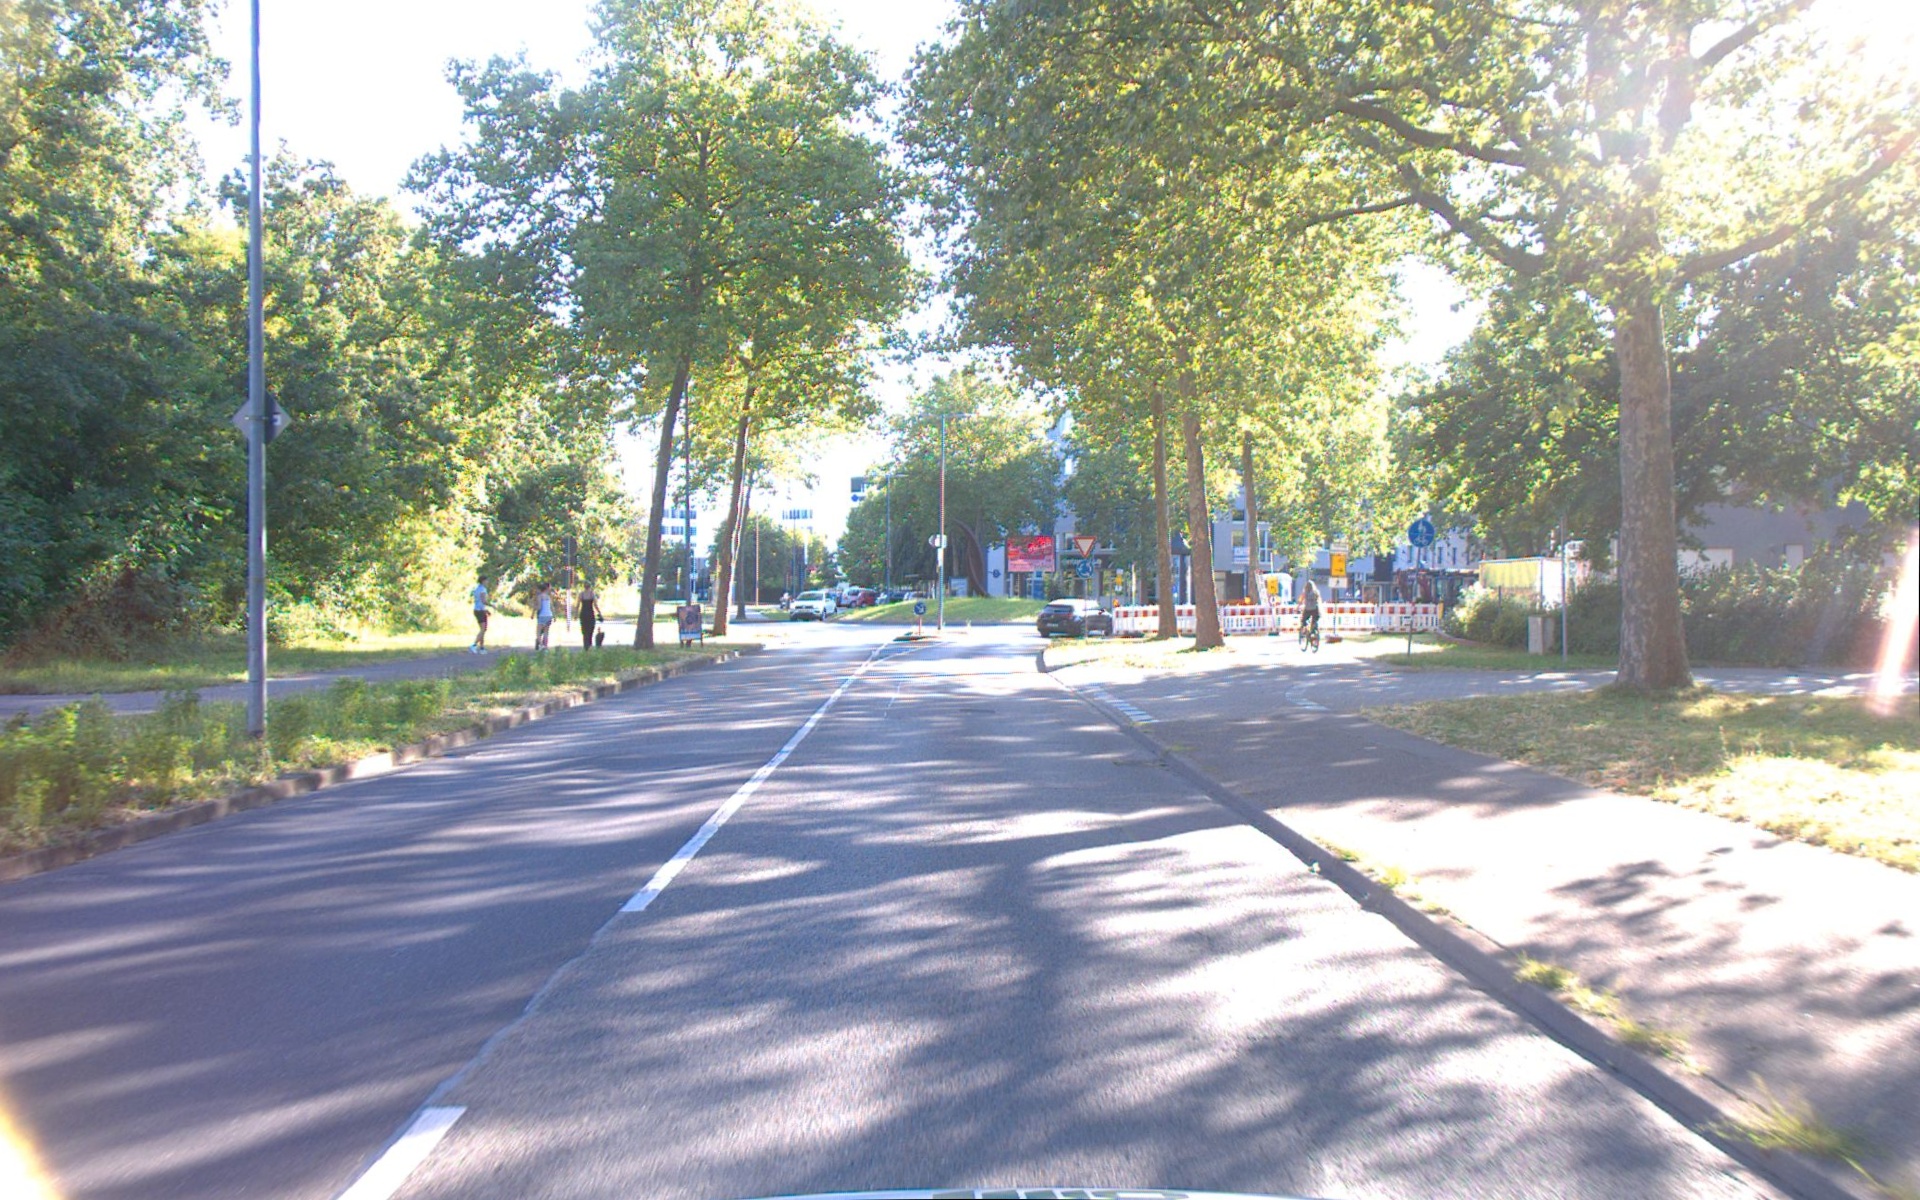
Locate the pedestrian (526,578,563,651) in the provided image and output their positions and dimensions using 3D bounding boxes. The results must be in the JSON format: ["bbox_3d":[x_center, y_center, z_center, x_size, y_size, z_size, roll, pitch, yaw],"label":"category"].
[{"bbox_3d":[-9.605,0.326,38.238,0.565,1.666,0.631,0,0,38],"label":"pedestrian"}]

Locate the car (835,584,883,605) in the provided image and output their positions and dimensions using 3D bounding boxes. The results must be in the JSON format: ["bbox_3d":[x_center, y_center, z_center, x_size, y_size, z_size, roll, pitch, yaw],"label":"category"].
[{"bbox_3d":[-9.117,-0.456,149.720,3.946,1.777,1.777,1,0,-31],"label":"car"}]

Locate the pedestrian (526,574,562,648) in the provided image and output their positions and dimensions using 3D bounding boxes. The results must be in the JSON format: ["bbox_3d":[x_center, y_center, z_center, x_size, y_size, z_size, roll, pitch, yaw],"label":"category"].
[{"bbox_3d":[-10.145,0.264,40.360,0.651,1.769,0.751,0,0,1],"label":"pedestrian"}]

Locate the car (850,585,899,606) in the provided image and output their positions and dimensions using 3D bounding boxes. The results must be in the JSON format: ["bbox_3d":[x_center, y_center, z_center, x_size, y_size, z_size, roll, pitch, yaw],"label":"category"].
[{"bbox_3d":[-7.589,-0.392,147.032,3.946,1.777,1.777,1,0,-31],"label":"car"}]

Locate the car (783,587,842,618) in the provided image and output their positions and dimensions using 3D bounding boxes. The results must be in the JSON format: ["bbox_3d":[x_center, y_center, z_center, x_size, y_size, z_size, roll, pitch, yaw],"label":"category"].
[{"bbox_3d":[-7.819,0.111,87.914,1.951,1.606,4.003,0,0,13],"label":"car"}]

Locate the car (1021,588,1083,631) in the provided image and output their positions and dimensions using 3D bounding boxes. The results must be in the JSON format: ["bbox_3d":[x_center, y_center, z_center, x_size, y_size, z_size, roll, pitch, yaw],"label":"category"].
[{"bbox_3d":[3.639,0.363,64.885,1.800,1.633,3.866,0,0,13],"label":"car"}]

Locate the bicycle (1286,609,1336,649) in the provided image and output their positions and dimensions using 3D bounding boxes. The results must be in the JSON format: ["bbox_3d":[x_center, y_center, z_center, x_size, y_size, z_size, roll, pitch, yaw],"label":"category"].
[{"bbox_3d":[8.922,0.728,42.134,0.754,0.981,2.174,-1,0,-1],"label":"bicycle"}]

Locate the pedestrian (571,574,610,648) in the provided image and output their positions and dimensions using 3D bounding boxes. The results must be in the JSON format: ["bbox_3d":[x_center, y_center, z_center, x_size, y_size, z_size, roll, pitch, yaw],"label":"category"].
[{"bbox_3d":[-9.030,0.263,40.416,0.733,1.769,0.852,0,0,1],"label":"pedestrian"}]

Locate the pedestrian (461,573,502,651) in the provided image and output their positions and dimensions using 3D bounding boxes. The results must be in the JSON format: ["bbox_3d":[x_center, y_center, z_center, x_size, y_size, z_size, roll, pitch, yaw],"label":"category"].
[{"bbox_3d":[-10.981,0.274,37.986,0.620,1.769,0.664,0,0,24],"label":"pedestrian"}]

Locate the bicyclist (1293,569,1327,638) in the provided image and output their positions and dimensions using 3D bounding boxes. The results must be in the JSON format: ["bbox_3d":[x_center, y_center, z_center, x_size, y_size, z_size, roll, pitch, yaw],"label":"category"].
[{"bbox_3d":[8.941,0.083,42.254,0.637,1.735,0.871,1,0,0],"label":"bicyclist"}]
